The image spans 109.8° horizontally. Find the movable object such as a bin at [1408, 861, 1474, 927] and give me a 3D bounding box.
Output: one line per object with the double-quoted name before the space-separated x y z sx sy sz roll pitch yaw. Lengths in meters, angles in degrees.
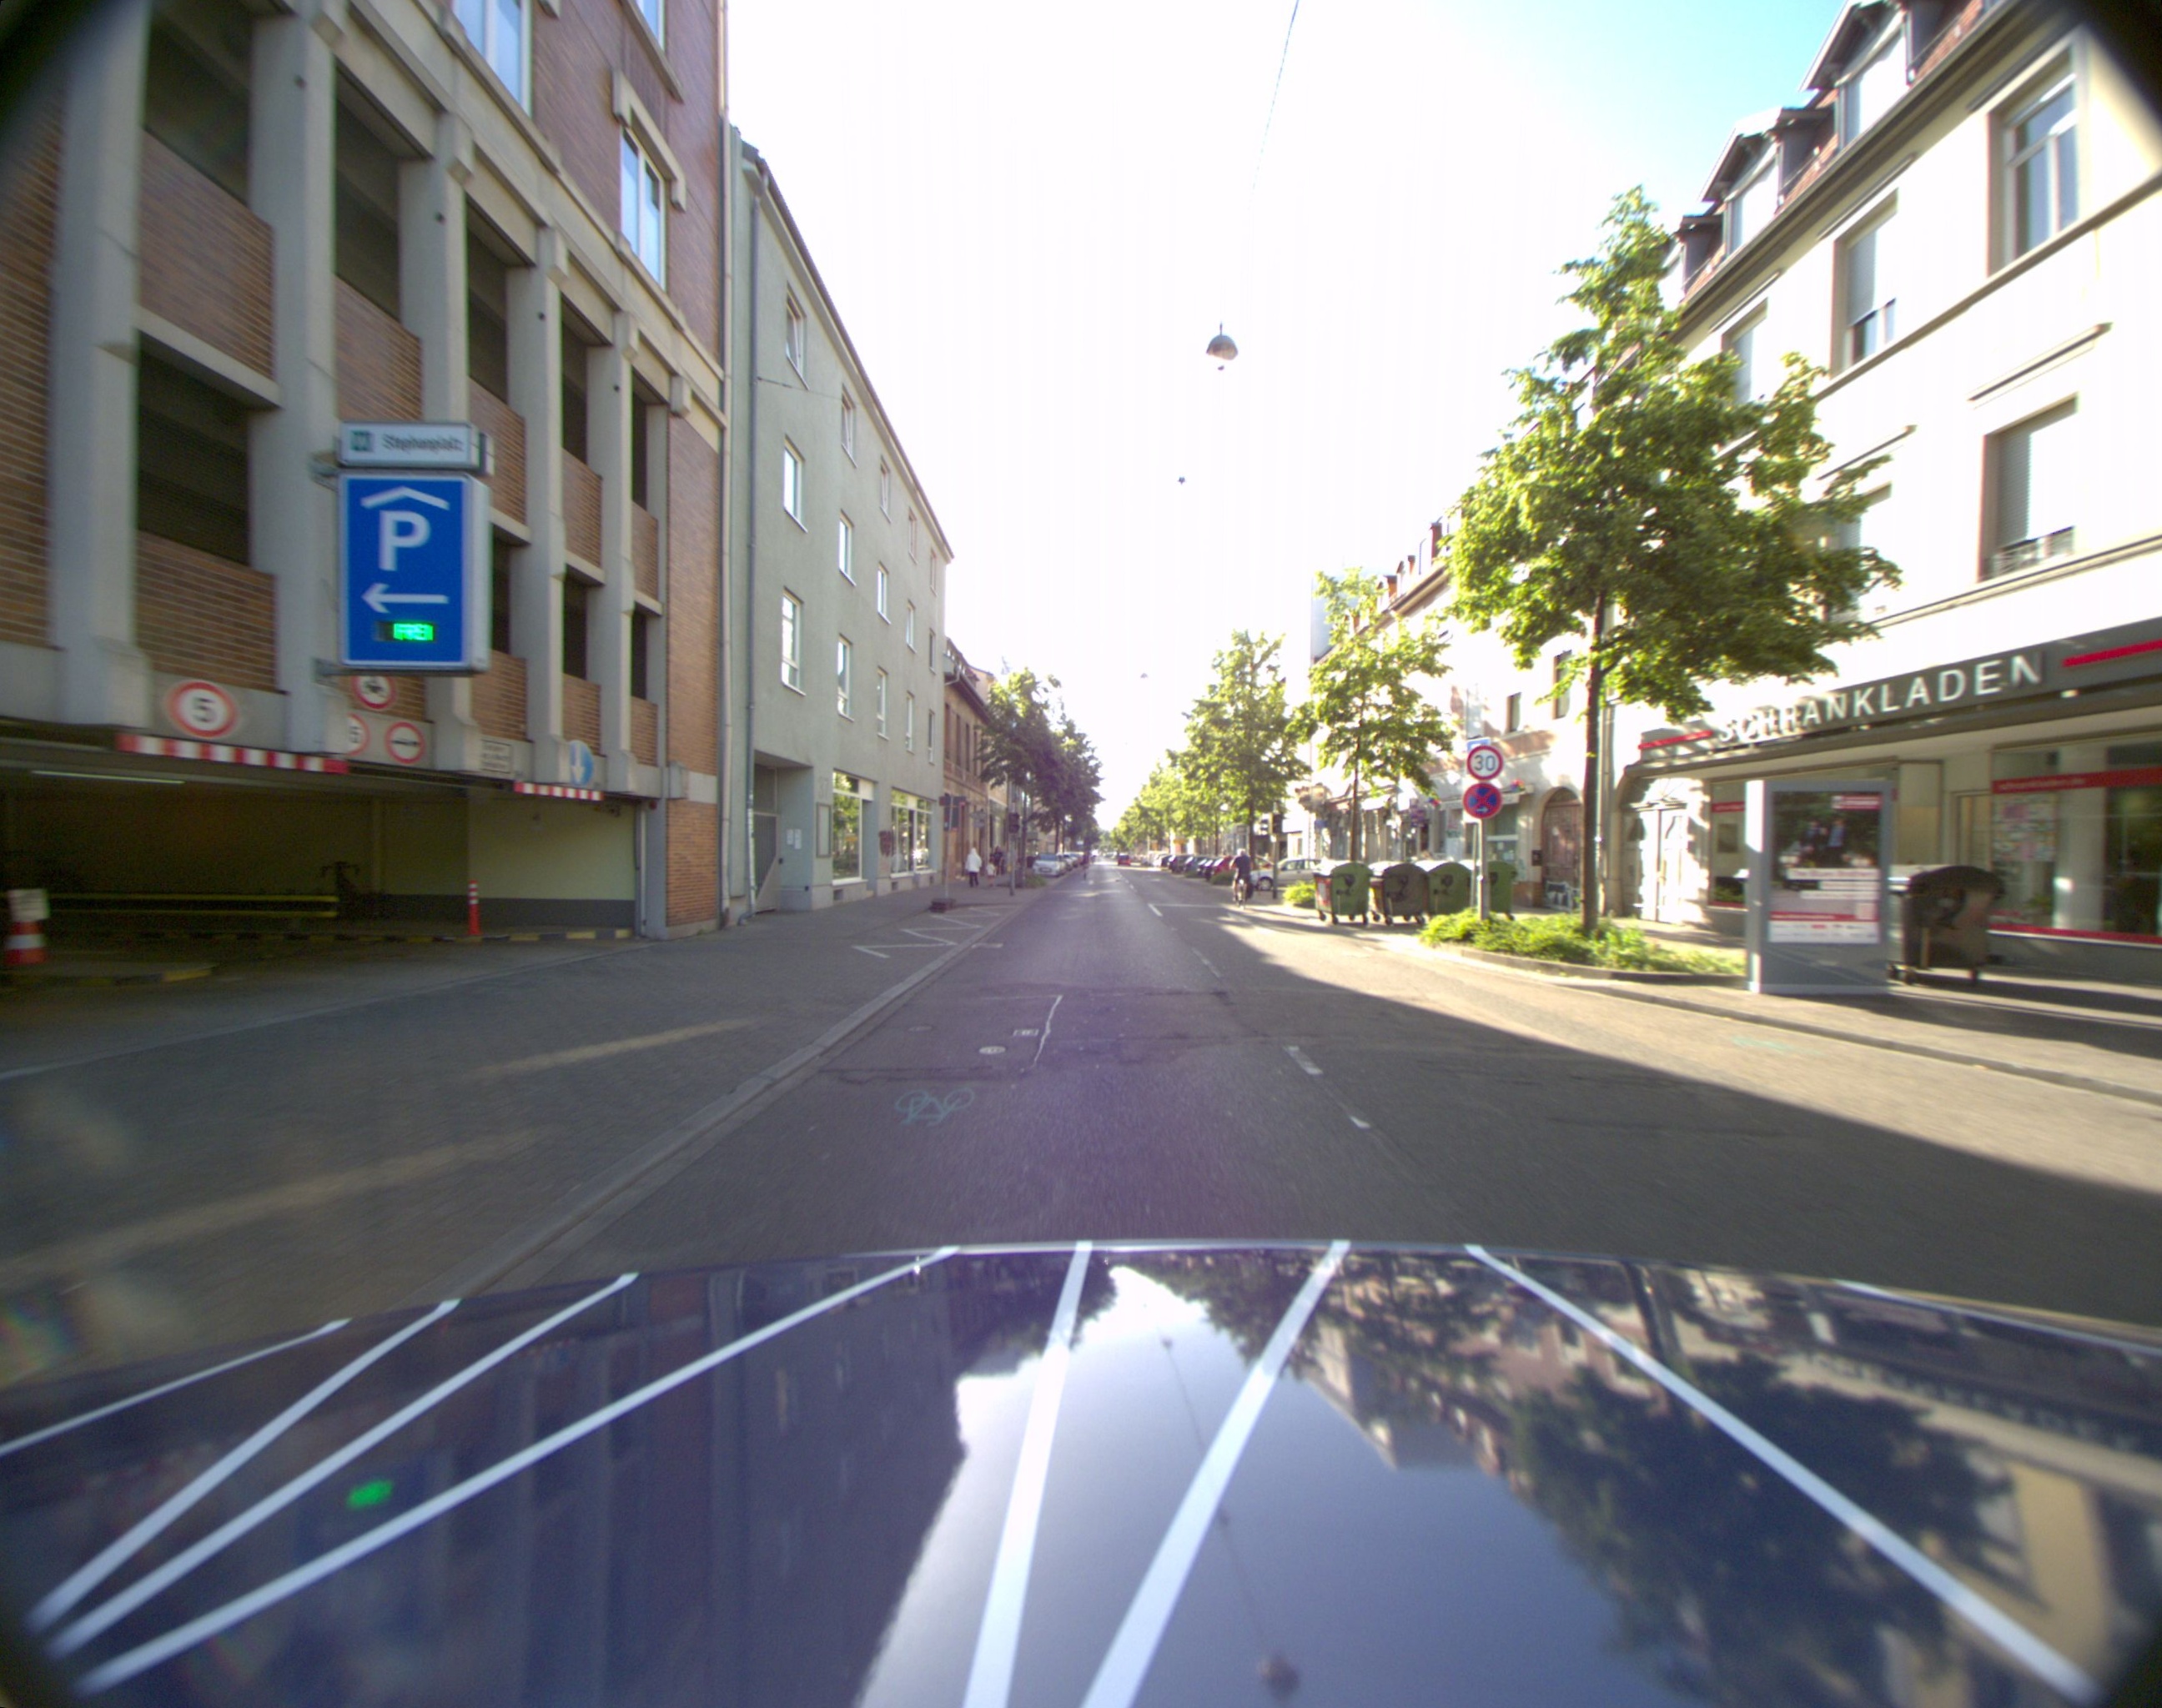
"movable object such as a bin" 8.342 0.900 17.671 0.966 1.463 1.143 0 1 0

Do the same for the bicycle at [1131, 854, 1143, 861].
"bicycle" 9.579 0.576 129.814 2.006 1.023 0.473 -1 1 -11

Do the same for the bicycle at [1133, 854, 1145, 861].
"bicycle" 9.810 0.585 128.886 2.006 1.023 0.473 -1 1 -11

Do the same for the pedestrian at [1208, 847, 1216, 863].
"pedestrian" 12.897 0.093 74.715 0.566 1.617 0.727 -4 1 0

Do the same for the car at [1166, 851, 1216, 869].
"car" 9.026 0.476 62.538 3.790 1.450 1.780 0 0 -2

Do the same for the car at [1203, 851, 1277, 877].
"car" 8.879 0.563 42.767 3.850 1.420 1.790 0 0 3

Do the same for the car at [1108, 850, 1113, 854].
"car" 9.930 -0.747 256.702 1.835 1.410 3.833 1 0 2

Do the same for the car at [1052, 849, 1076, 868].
"car" -1.445 0.382 67.198 1.887 1.518 4.234 3 0 1

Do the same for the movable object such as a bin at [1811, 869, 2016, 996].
"movable object such as a bin" 10.138 0.910 9.333 1.044 1.396 1.314 1 1 0

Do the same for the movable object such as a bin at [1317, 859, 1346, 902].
"movable object such as a bin" 8.135 0.853 24.703 0.636 1.333 0.805 1 1 0

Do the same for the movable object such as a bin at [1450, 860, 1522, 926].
"movable object such as a bin" 9.411 0.877 17.688 1.044 1.463 1.143 1 1 0

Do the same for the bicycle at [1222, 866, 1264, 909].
"bicycle" 4.711 0.955 22.163 0.707 1.140 1.967 1 1 -3

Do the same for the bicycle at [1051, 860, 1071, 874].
"bicycle" -1.689 1.107 63.864 1.626 1.007 0.611 5 0 0

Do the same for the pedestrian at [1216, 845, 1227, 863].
"pedestrian" 13.827 -0.022 74.706 0.776 1.756 0.763 -4 1 0

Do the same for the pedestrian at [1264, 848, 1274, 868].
"pedestrian" 13.327 0.296 53.835 0.509 1.400 0.825 -1 0 6

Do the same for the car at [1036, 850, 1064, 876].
"car" -1.970 0.554 48.756 1.618 1.520 3.060 2 1 1

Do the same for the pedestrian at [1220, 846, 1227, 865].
"pedestrian" 13.787 0.126 73.518 0.700 1.787 0.746 0 1 13

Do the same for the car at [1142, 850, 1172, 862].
"car" 9.809 0.270 98.287 3.788 1.455 1.710 -1 0 -1

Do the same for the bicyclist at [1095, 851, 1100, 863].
"bicyclist" 2.280 0.423 106.482 0.727 1.690 1.282 0 0 2

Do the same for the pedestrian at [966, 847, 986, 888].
"pedestrian" -4.147 0.524 30.098 0.582 1.550 1.020 3 1 0

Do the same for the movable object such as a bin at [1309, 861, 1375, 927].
"movable object such as a bin" 6.141 0.916 17.991 1.044 1.463 1.452 1 1 0

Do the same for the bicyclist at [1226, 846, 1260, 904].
"bicyclist" 4.713 0.596 22.157 0.698 1.643 1.035 1 1 -3

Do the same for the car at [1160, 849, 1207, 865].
"car" 9.918 0.308 73.891 4.377 1.561 1.980 0 0 2

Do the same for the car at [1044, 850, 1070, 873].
"car" -1.697 0.530 54.959 1.618 1.520 4.234 3 0 1

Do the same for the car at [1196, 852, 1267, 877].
"car" 8.900 0.608 45.094 3.928 1.477 1.771 0 0 3

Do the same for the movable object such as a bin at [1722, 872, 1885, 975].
"movable object such as a bin" 10.197 0.944 10.800 1.044 1.337 1.314 1 1 0

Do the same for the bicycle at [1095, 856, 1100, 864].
"bicycle" 2.283 0.803 106.651 0.727 1.162 2.197 0 0 2

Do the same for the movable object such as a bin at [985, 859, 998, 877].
"movable object such as a bin" -5.255 0.804 44.776 0.590 1.034 0.722 3 1 3

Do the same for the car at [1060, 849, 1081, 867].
"car" -1.041 0.409 80.482 1.998 1.680 4.516 3 0 1

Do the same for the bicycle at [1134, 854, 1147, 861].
"bicycle" 10.001 0.570 127.872 2.006 1.023 0.473 -1 1 -11

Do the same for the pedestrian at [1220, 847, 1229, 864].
"pedestrian" 12.993 0.146 68.881 0.594 1.485 0.842 -2 0 3

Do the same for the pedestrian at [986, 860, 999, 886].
"pedestrian" -3.662 0.786 31.556 0.394 1.027 0.739 3 1 0

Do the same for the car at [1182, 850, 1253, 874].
"car" 9.226 0.533 51.662 4.504 1.450 1.790 -1 1 -1

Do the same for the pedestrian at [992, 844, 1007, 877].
"pedestrian" -4.490 0.355 41.775 0.624 1.755 0.771 3 1 3

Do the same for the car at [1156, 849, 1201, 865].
"car" 9.753 0.262 76.425 4.377 1.561 1.946 0 0 2

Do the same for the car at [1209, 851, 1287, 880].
"car" 8.758 0.594 40.073 3.757 1.460 1.739 0 0 1

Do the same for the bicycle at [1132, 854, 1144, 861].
"bicycle" 9.667 0.581 129.389 2.006 1.023 0.473 -1 1 -11

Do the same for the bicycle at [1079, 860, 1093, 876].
"bicycle" 0.289 0.847 46.615 0.805 0.958 1.996 -1 0 0

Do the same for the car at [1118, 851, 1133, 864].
"car" 5.619 0.432 96.220 1.662 1.526 3.760 2 0 2

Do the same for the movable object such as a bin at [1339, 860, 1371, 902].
"movable object such as a bin" 8.891 0.875 24.687 0.756 1.333 0.805 1 1 0

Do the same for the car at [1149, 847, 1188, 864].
"car" 9.821 0.140 85.449 4.115 1.825 2.039 -1 0 2

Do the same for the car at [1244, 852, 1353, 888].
"car" 9.269 0.668 32.629 4.212 1.460 1.740 0 0 4

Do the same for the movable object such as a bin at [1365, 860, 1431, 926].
"movable object such as a bin" 7.306 0.875 17.577 1.044 1.463 1.143 1 1 0

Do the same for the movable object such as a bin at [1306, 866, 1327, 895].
"movable object such as a bin" 8.785 0.979 28.332 0.532 1.063 0.805 1 1 0

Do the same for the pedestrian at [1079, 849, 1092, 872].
"pedestrian" 0.278 0.398 46.561 0.803 1.381 0.931 -1 0 0
